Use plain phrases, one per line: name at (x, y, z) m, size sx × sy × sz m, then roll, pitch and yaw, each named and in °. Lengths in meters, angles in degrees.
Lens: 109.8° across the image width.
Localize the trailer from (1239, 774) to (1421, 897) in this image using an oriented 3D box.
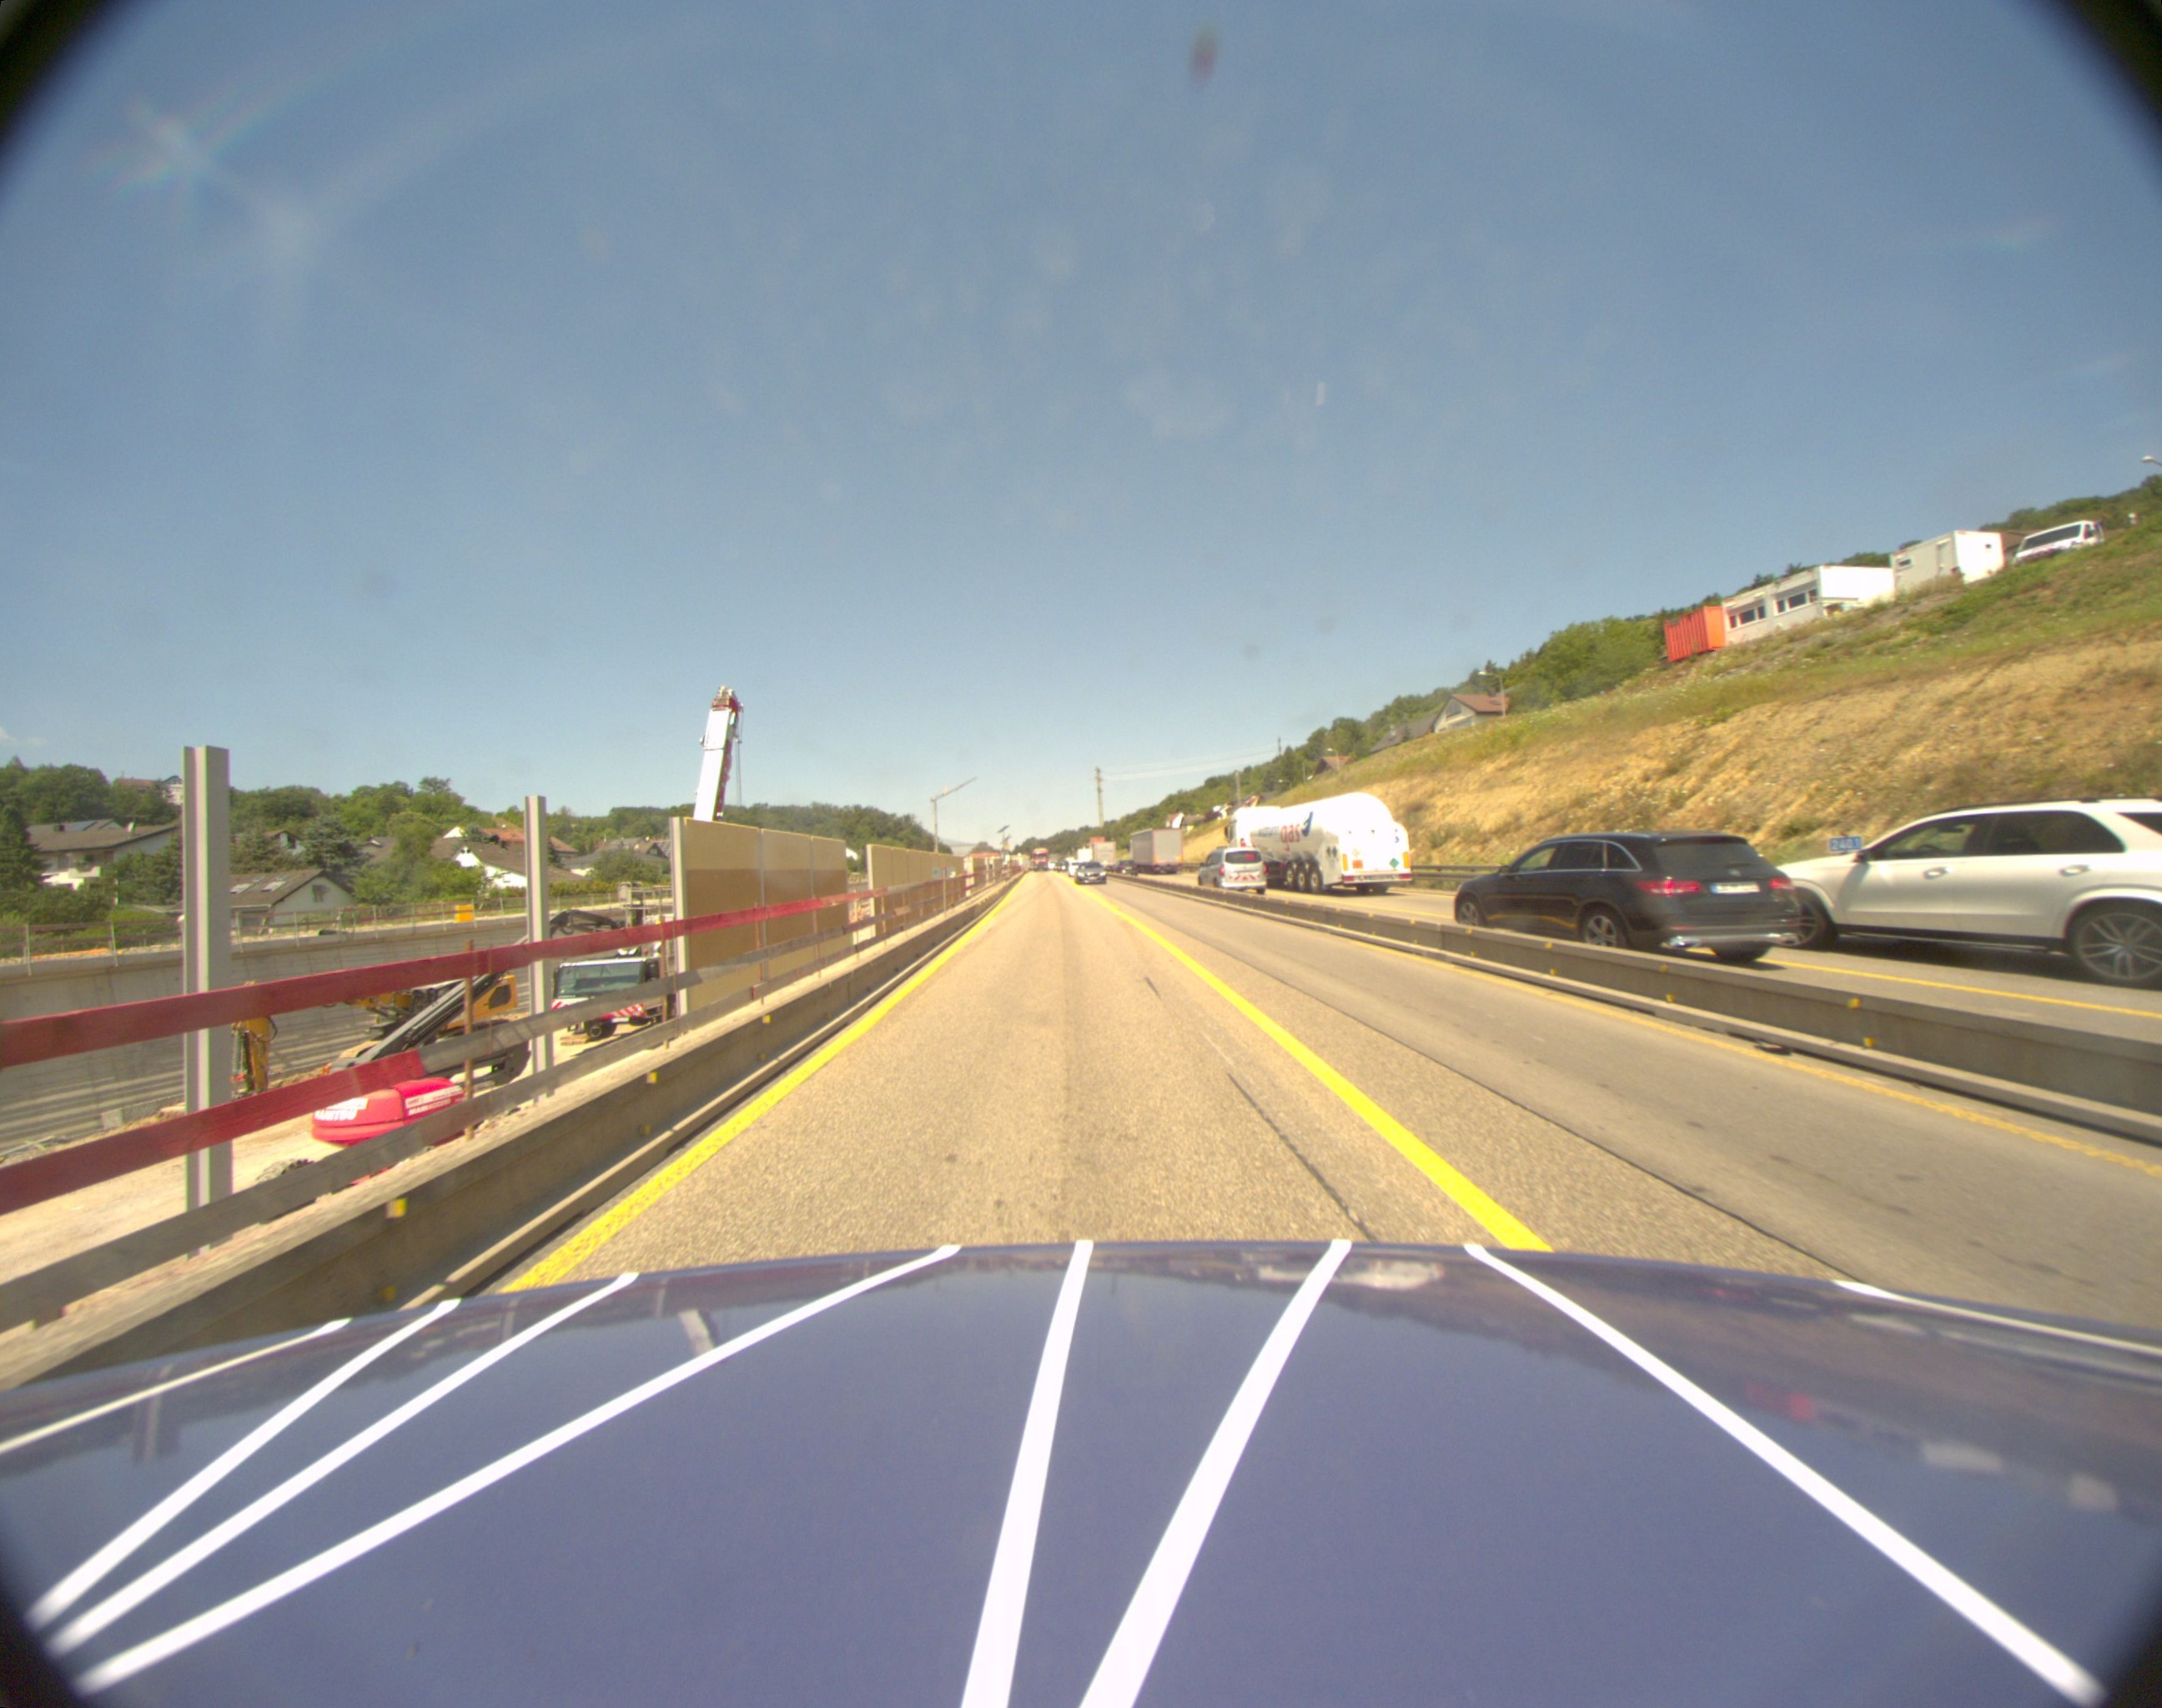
trailer at (9.149, -0.548, 30.059) m, size 2.597 × 3.779 × 11.914 m, roll -3°, pitch 0°, yaw -3°

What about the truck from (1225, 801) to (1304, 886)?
truck at (8.792, -0.481, 36.773) m, size 2.597 × 3.779 × 3.766 m, roll -3°, pitch 0°, yaw -3°

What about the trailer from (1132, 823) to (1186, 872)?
trailer at (7.002, -0.509, 70.709) m, size 2.705 × 4.001 × 13.698 m, roll -3°, pitch 0°, yaw -3°

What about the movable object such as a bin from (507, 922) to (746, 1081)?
movable object such as a bin at (-14.862, 4.566, 26.059) m, size 2.974 × 3.467 × 9.149 m, roll -4°, pitch 0°, yaw -4°

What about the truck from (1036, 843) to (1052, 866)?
truck at (-6.571, 0.203, 135.307) m, size 2.606 × 3.703 × 10.535 m, roll -3°, pitch -1°, yaw -2°

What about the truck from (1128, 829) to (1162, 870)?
truck at (6.564, -0.434, 78.256) m, size 2.705 × 4.026 × 3.954 m, roll -3°, pitch 0°, yaw -3°

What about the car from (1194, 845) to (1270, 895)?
car at (5.759, 0.598, 29.550) m, size 1.885 × 1.734 × 4.482 m, roll -1°, pitch 0°, yaw -2°

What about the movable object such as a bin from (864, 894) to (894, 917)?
movable object such as a bin at (-24.922, 6.357, 94.080) m, size 2.615 × 2.475 × 4.453 m, roll -4°, pitch 0°, yaw -3°

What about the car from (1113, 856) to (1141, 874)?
car at (3.881, 0.912, 65.136) m, size 1.784 × 1.449 × 4.718 m, roll -3°, pitch 0°, yaw -4°

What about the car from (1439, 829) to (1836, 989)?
car at (7.008, 0.594, 10.396) m, size 1.795 × 1.602 × 4.732 m, roll -3°, pitch 0°, yaw -2°

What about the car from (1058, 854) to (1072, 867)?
car at (-2.212, 0.925, 106.710) m, size 1.781 × 1.727 × 4.335 m, roll -3°, pitch -1°, yaw -2°

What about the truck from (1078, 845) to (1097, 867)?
truck at (0.961, 0.308, 121.448) m, size 2.545 × 3.354 × 7.036 m, roll -3°, pitch 0°, yaw -2°

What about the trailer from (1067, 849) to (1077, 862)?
trailer at (-3.216, 0.522, 265.964) m, size 2.793 × 4.157 × 13.976 m, roll -2°, pitch -1°, yaw -3°

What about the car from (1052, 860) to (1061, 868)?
car at (-5.084, 2.115, 154.946) m, size 1.781 × 1.485 × 4.335 m, roll -3°, pitch -1°, yaw -2°

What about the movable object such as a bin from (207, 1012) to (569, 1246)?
movable object such as a bin at (-12.252, 4.726, 14.079) m, size 2.174 × 2.417 × 4.820 m, roll -4°, pitch 0°, yaw -1°

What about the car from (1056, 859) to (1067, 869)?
car at (-3.331, 1.700, 128.474) m, size 1.781 × 1.485 × 4.335 m, roll -3°, pitch -1°, yaw -2°

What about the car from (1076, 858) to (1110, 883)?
car at (0.708, 1.022, 47.143) m, size 1.781 × 1.447 × 4.335 m, roll -3°, pitch -1°, yaw -2°

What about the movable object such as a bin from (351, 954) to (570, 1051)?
movable object such as a bin at (-26.677, 6.270, 33.368) m, size 3.171 × 2.431 × 7.893 m, roll -4°, pitch 0°, yaw -2°

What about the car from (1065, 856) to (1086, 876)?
car at (-0.554, 1.156, 70.576) m, size 1.781 × 1.682 × 4.335 m, roll -3°, pitch -1°, yaw -2°

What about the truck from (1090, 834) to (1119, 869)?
truck at (2.629, -0.269, 86.881) m, size 2.596 × 3.736 × 7.357 m, roll -3°, pitch 0°, yaw -3°

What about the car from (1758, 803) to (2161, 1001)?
car at (10.351, 0.407, 8.223) m, size 1.796 × 1.752 × 4.536 m, roll -2°, pitch 0°, yaw -4°
